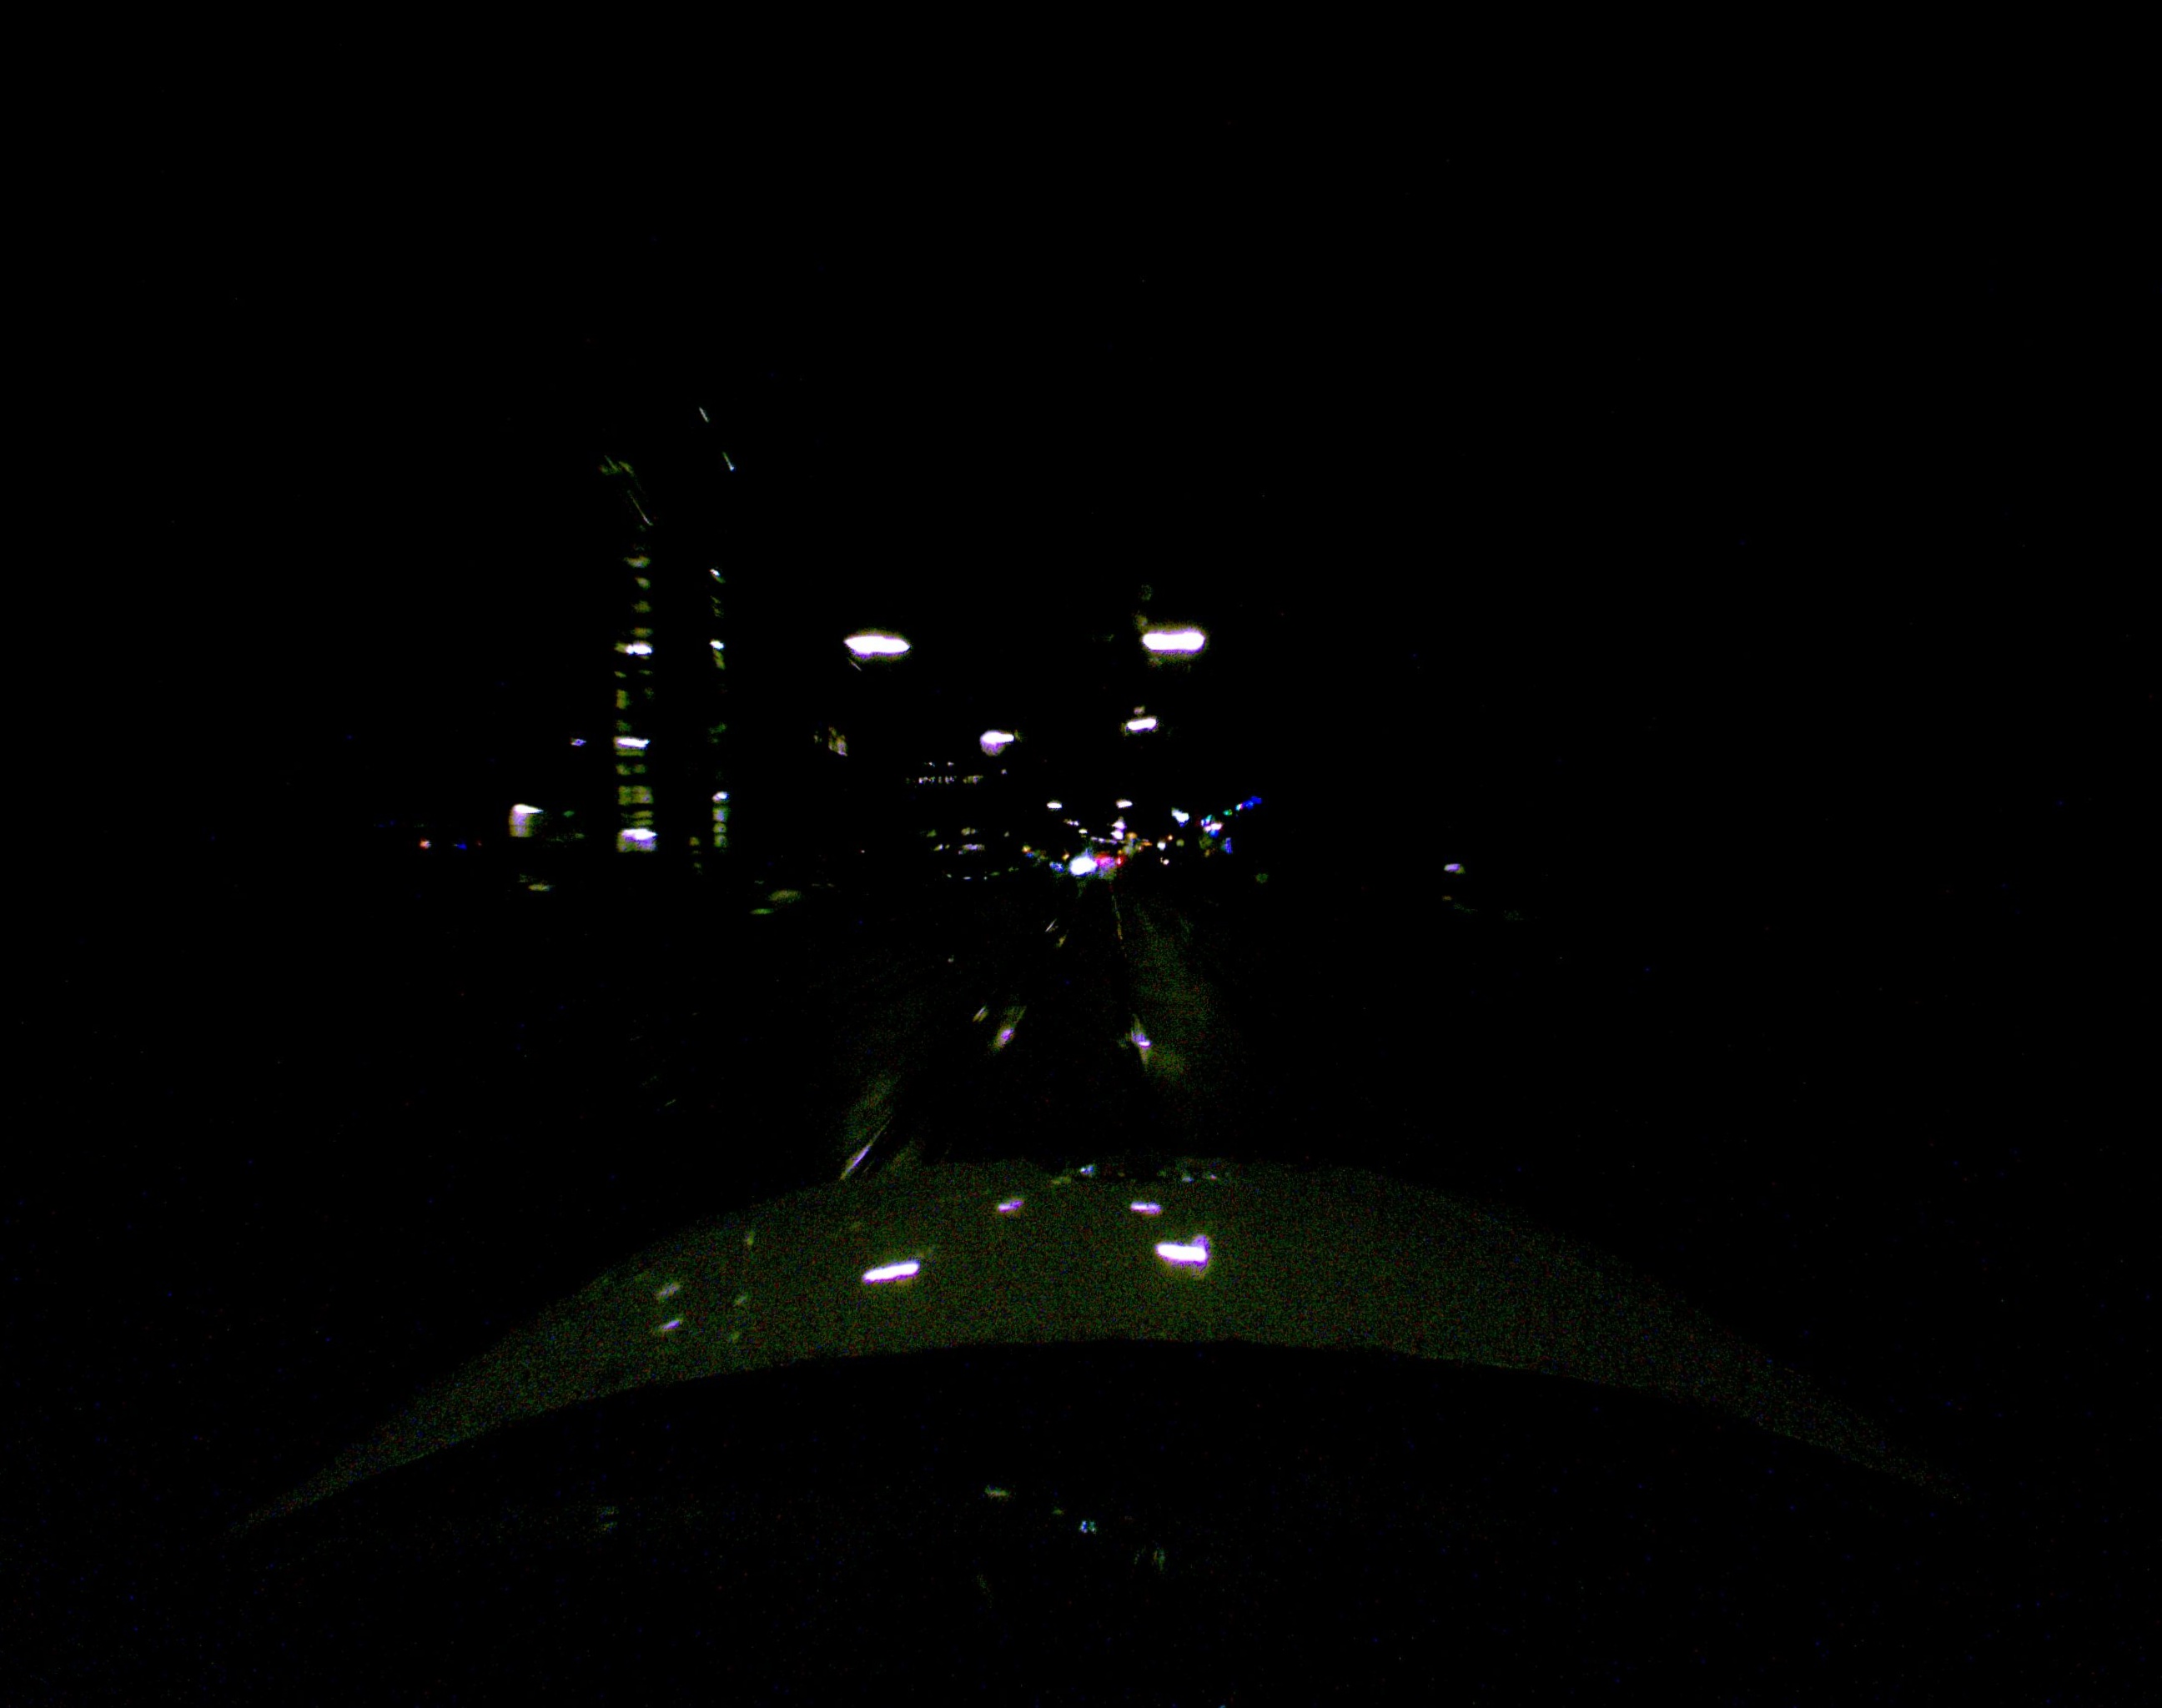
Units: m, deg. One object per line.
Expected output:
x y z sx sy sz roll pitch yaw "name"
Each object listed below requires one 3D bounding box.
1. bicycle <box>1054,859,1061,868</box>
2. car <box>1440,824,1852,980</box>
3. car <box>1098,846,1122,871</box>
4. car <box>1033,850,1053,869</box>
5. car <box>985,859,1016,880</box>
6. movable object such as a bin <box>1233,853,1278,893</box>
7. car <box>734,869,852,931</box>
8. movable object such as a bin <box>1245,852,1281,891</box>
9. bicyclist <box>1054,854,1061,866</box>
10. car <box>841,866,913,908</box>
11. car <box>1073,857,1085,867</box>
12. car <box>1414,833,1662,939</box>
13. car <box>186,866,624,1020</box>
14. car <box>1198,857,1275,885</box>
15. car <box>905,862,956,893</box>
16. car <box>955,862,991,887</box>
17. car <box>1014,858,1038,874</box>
-3.324 1.326 114.431 0.779 1.082 1.919 -4 0 2 "bicycle"
7.061 0.492 10.235 4.598 1.475 1.828 -3 0 -18 "car"
2.882 0.453 81.403 2.236 2.361 4.394 -1 0 1 "car"
-5.523 0.803 118.459 2.175 2.591 6.399 -1 1 4 "car"
-6.785 1.278 68.927 1.976 1.631 4.519 -1 0 2 "car"
6.526 0.715 30.586 1.319 1.408 1.158 -3 -1 -4 "movable object such as a bin"
-7.967 1.214 23.016 1.768 1.440 4.605 -2 0 -2 "car"
7.093 0.674 31.822 1.202 1.422 1.103 -3 -1 7 "movable object such as a bin"
-3.356 0.825 114.440 0.779 1.655 1.207 -4 -1 2 "bicyclist"
-7.961 1.246 32.153 1.835 1.423 4.207 -2 0 -1 "car"
-0.332 1.313 139.080 1.769 1.517 4.053 -1 0 2 "car"
7.943 0.500 14.225 3.702 1.518 1.649 -3 0 -17 "car"
-8.779 1.021 11.317 2.135 1.619 4.590 1 0 1 "car"
9.274 0.996 48.646 4.111 1.537 1.945 -1 0 -24 "car"
-7.863 1.203 42.996 1.883 1.463 4.955 -2 0 -3 "car"
-7.278 1.341 55.143 1.875 1.545 4.397 2 0 -1 "car"
-5.848 1.218 87.081 1.961 1.655 4.605 1 0 3 "car"
